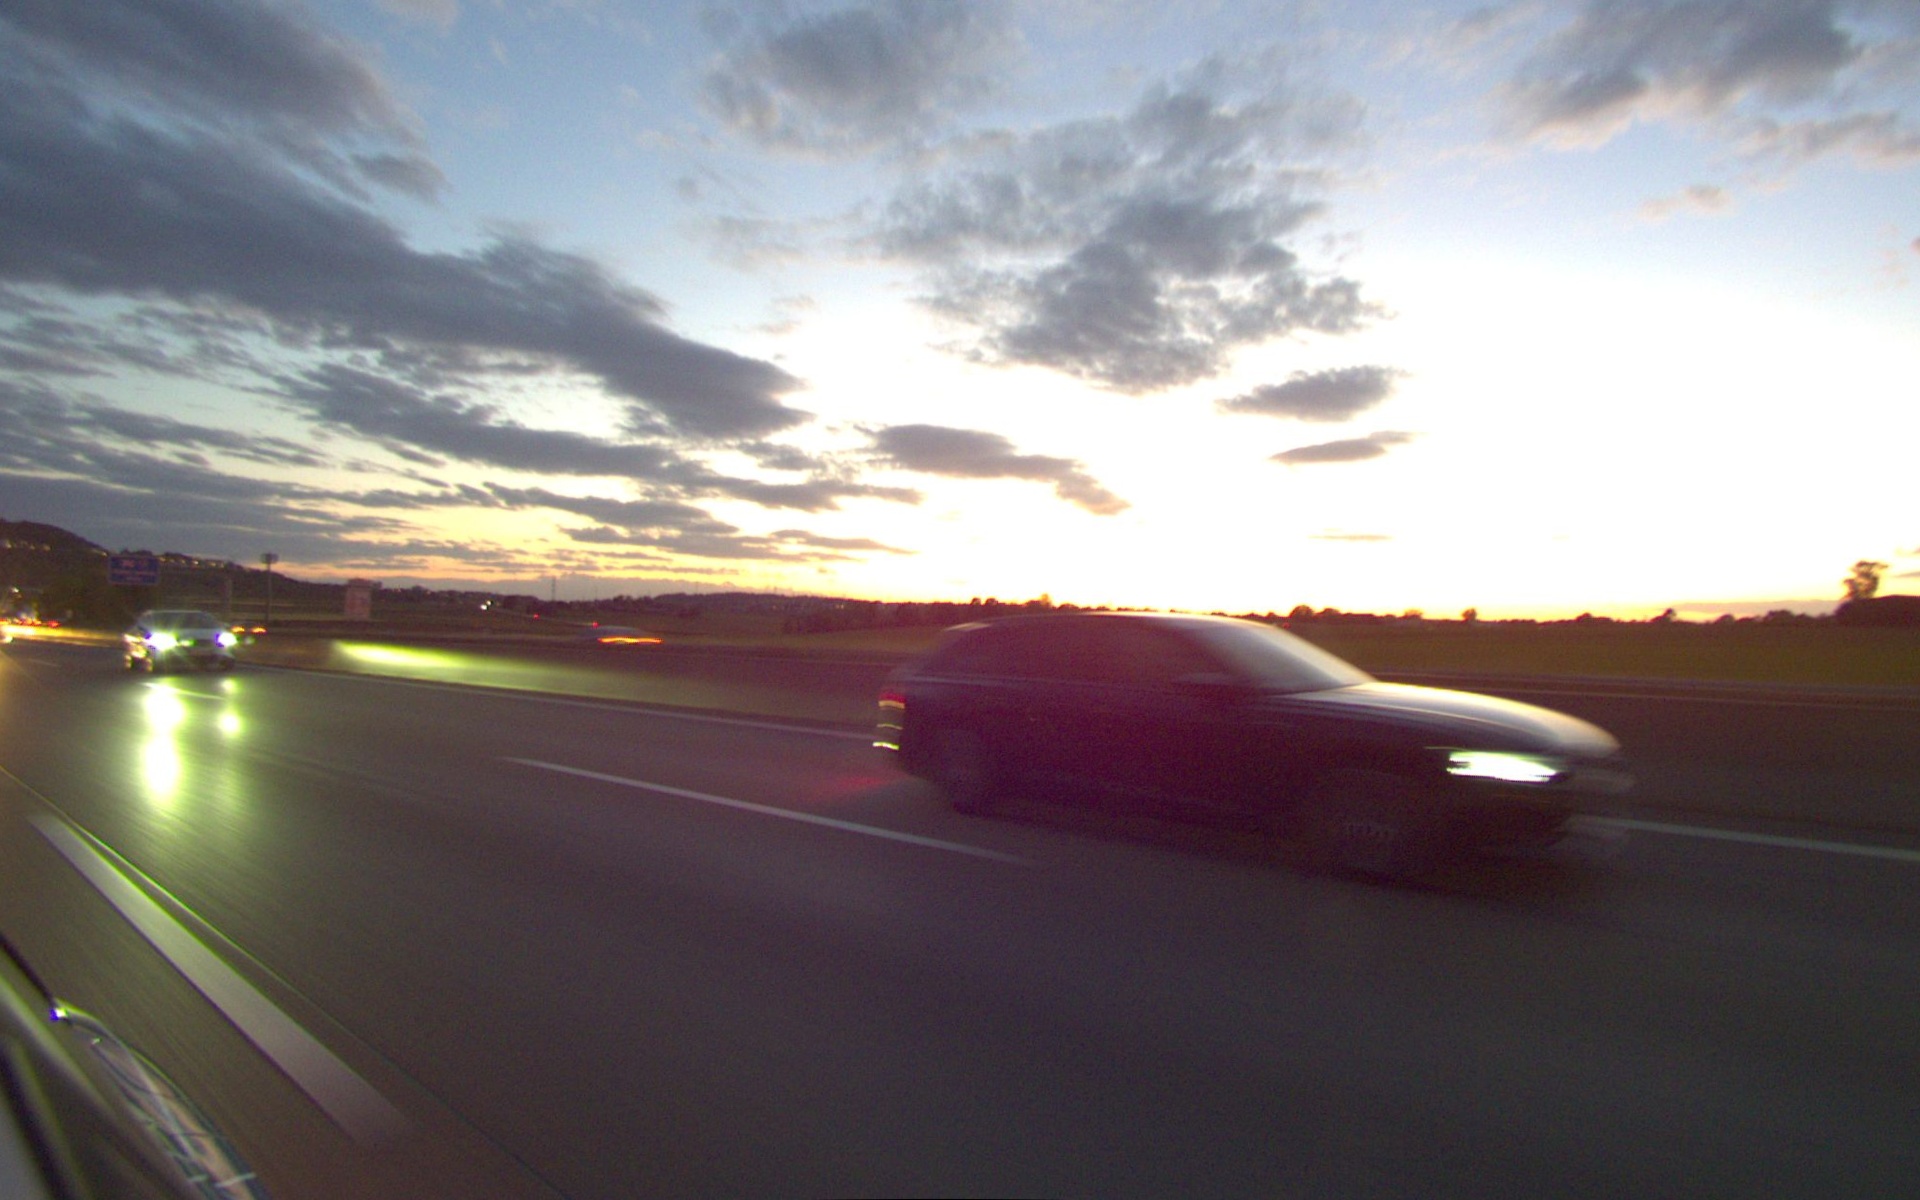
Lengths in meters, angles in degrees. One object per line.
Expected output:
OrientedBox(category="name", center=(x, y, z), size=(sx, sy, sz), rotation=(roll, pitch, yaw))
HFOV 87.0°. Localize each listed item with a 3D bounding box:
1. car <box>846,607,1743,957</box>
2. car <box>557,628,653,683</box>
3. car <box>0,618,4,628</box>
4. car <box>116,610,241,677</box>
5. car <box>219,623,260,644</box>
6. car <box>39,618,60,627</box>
OrientedBox(category="car", center=(1.735, 0.779, 6.712), size=(5.392, 1.448, 1.795), rotation=(0, 0, 41))
OrientedBox(category="car", center=(-14.514, 2.216, 41.227), size=(4.417, 2.029, 1.755), rotation=(0, 0, 41))
OrientedBox(category="car", center=(-126.436, 2.973, 132.443), size=(3.998, 1.227, 1.648), rotation=(0, 0, 41))
OrientedBox(category="car", center=(-21.394, 1.109, 27.631), size=(4.854, 1.660, 1.795), rotation=(0, 0, 41))
OrientedBox(category="car", center=(-56.206, 2.585, 78.945), size=(4.518, 1.546, 1.641), rotation=(0, 0, 41))
OrientedBox(category="car", center=(-120.177, 2.953, 133.567), size=(3.998, 1.189, 1.648), rotation=(0, 0, 41))
